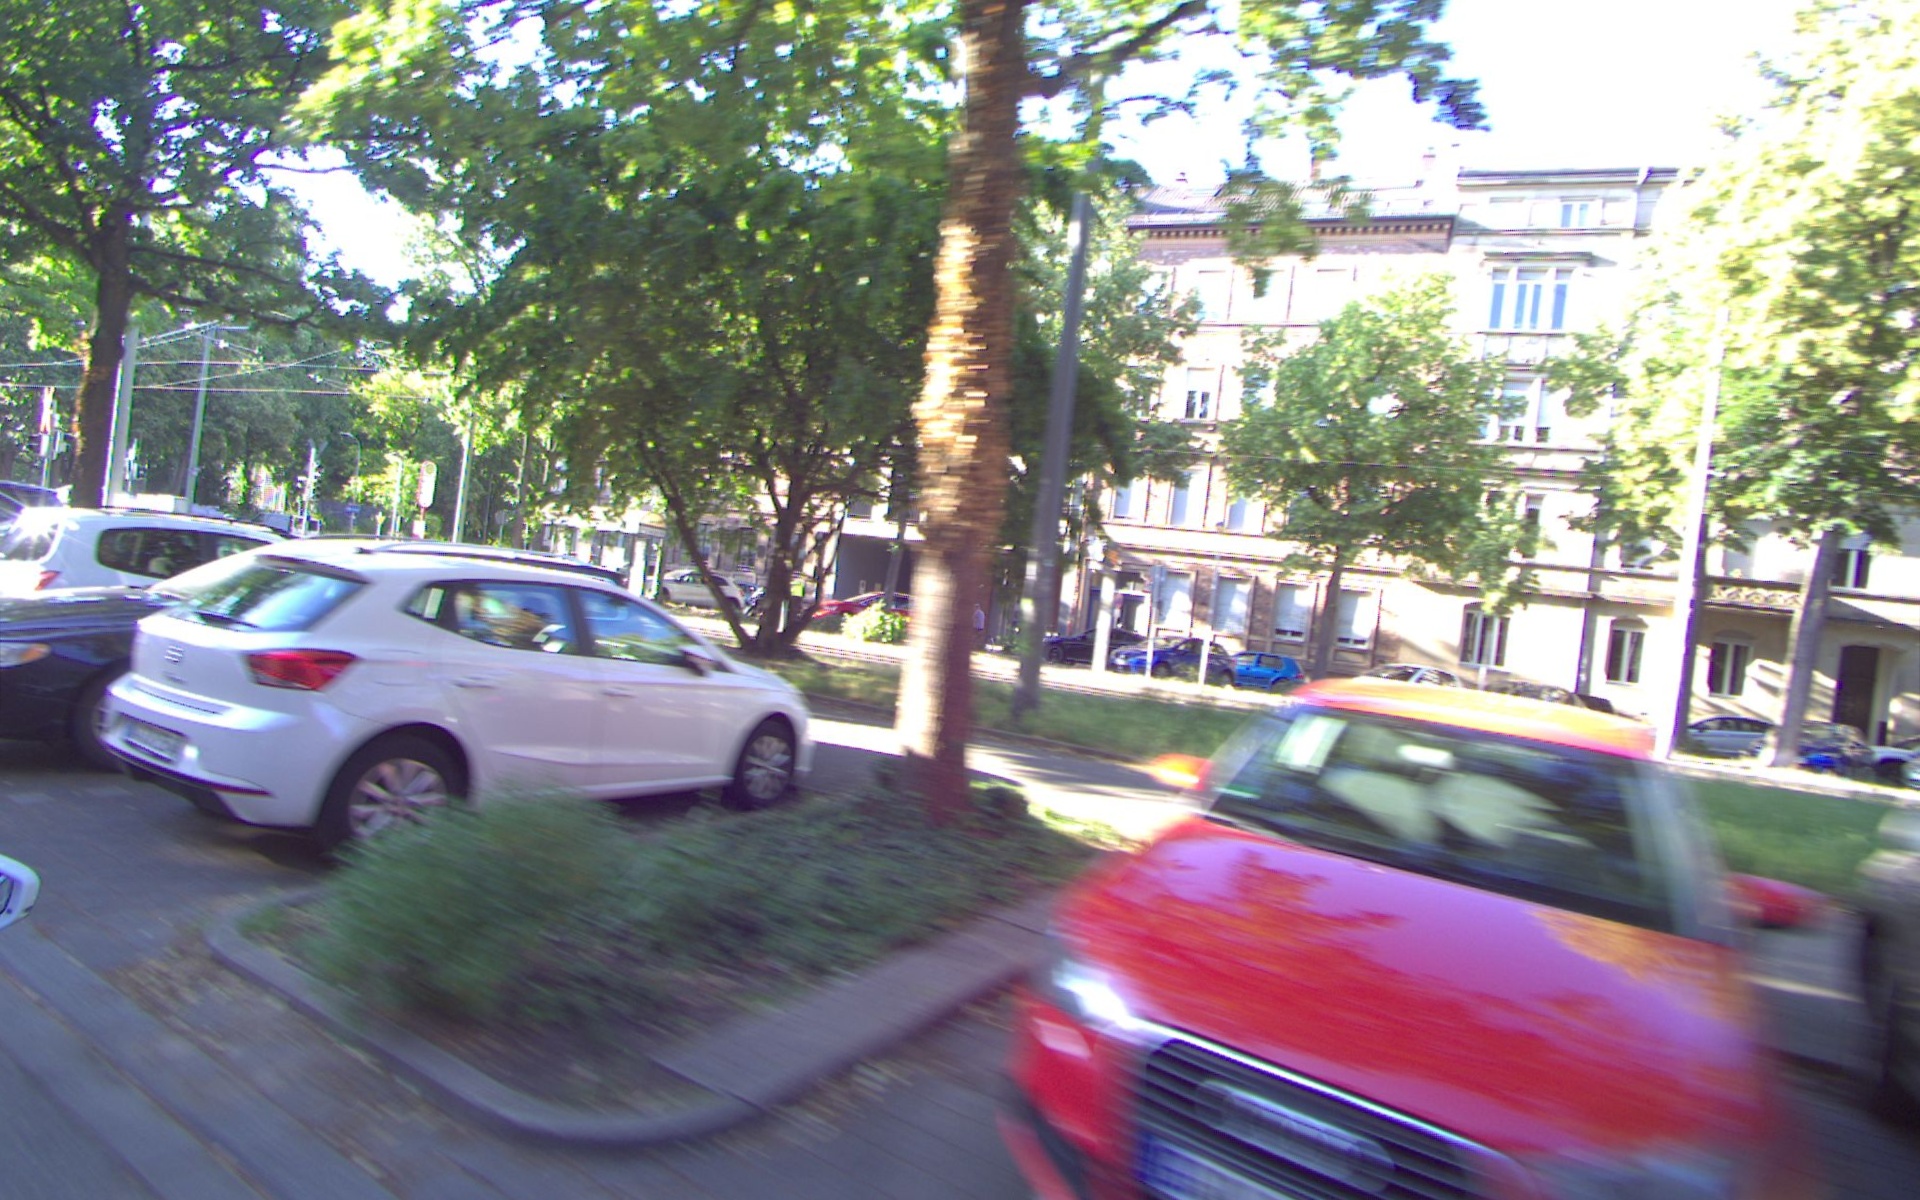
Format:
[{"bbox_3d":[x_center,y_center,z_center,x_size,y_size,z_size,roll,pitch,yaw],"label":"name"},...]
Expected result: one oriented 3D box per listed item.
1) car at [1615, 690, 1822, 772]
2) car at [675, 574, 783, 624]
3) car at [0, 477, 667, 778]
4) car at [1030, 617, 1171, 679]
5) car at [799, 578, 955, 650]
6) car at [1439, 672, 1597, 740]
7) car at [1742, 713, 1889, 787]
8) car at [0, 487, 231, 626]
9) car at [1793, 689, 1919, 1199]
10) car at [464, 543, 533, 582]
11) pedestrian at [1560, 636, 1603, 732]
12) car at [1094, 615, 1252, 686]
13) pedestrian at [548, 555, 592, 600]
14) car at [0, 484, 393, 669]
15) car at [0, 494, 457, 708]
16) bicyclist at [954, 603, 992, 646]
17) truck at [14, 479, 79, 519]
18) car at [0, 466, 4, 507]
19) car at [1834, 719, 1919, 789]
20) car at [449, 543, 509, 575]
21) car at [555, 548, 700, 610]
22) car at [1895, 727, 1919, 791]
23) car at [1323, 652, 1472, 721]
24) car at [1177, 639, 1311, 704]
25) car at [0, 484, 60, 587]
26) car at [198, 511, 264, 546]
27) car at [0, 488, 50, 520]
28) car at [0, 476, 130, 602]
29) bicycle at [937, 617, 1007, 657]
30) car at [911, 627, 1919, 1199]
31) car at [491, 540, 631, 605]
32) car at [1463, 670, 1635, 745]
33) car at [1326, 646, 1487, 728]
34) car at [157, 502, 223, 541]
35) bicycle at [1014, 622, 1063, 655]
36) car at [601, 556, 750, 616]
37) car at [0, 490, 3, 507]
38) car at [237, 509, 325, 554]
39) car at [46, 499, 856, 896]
[{"bbox_3d":[22.261,3.818,29.750,4.335,1.587,1.999,7,1,19],"label":"car"},{"bbox_3d":[-9.806,-0.059,42.726,4.089,1.506,1.743,7,-2,25],"label":"car"},{"bbox_3d":[-4.776,0.226,7.525,1.968,1.591,4.704,6,-1,34],"label":"car"},{"bbox_3d":[5.051,1.699,36.204,4.509,1.587,1.999,7,1,23],"label":"car"},{"bbox_3d":[-2.657,0.456,32.321,4.499,1.743,1.915,7,1,-28],"label":"car"},{"bbox_3d":[13.990,2.677,25.127,4.244,1.295,1.791,7,0,-37],"label":"car"},{"bbox_3d":[19.781,3.439,23.224,3.966,1.295,1.730,7,1,-38],"label":"car"},{"bbox_3d":[-12.673,-0.672,13.230,1.919,1.591,4.542,6,-1,34],"label":"car"},{"bbox_3d":[3.654,1.172,2.384,1.736,1.600,3.993,7,0,29],"label":"car"},{"bbox_3d":[-25.977,-2.071,56.778,1.888,1.675,4.186,10,-1,-3],"label":"car"},{"bbox_3d":[19.931,2.683,32.273,0.687,2.984,0.920,7,1,19],"label":"pedestrian"},{"bbox_3d":[6.050,1.447,28.417,4.240,1.506,1.792,7,1,-34],"label":"car"},{"bbox_3d":[-12.225,-0.701,31.552,0.861,1.288,0.824,7,0,24],"label":"pedestrian"},{"bbox_3d":[-8.866,-0.240,10.469,1.968,1.591,4.704,6,-1,34],"label":"car"},{"bbox_3d":[-6.755,0.060,9.152,1.691,1.533,3.401,8,0,34],"label":"car"},{"bbox_3d":[0.466,0.850,35.216,0.961,1.371,0.779,7,1,21],"label":"bicyclist"},{"bbox_3d":[-67.402,-7.467,74.222,4.311,2.381,2.369,7,0,32],"label":"truck"},{"bbox_3d":[-19.287,-1.693,16.708,1.919,1.937,4.542,6,-1,34],"label":"car"},{"bbox_3d":[27.512,4.498,27.799,4.527,1.587,1.999,7,1,20],"label":"car"},{"bbox_3d":[-31.704,-2.682,66.410,1.800,1.633,4.290,10,-1,-2],"label":"car"},{"bbox_3d":[-11.973,-0.726,36.369,4.513,1.655,1.909,7,1,-38],"label":"car"},{"bbox_3d":[22.190,3.615,22.083,3.966,1.295,1.730,7,1,-38],"label":"car"},{"bbox_3d":[14.200,2.777,32.901,4.163,1.587,1.999,7,1,19],"label":"car"},{"bbox_3d":[9.764,2.404,34.531,4.163,1.587,1.999,7,1,19],"label":"car"},{"bbox_3d":[-17.063,-1.253,15.356,1.919,1.591,4.542,6,-1,34],"label":"car"},{"bbox_3d":[-43.868,-4.285,60.522,3.645,1.658,1.575,7,0,25],"label":"car"},{"bbox_3d":[-56.764,-5.869,59.723,3.804,1.406,1.720,11,-4,-39],"label":"car"},{"bbox_3d":[-15.029,-1.059,14.345,1.916,1.711,4.446,6,-1,26],"label":"car"},{"bbox_3d":[0.410,1.298,35.199,2.214,1.099,0.779,7,1,21],"label":"bicycle"},{"bbox_3d":[1.688,0.986,3.543,1.656,1.441,3.991,7,0,32],"label":"car"},{"bbox_3d":[-14.771,-0.991,37.367,4.388,1.707,1.723,9,-1,-40],"label":"car"},{"bbox_3d":[18.160,3.284,31.259,4.163,1.587,1.999,7,1,19],"label":"car"},{"bbox_3d":[11.810,2.314,26.536,4.240,1.716,1.792,7,1,-34],"label":"car"},{"bbox_3d":[-47.862,-4.882,62.524,3.833,1.927,1.575,7,0,26],"label":"car"},{"bbox_3d":[3.218,1.590,41.648,0.677,1.130,2.074,7,0,-39],"label":"bicycle"},{"bbox_3d":[-9.890,-0.467,35.107,4.513,1.506,1.909,7,1,-38],"label":"car"},{"bbox_3d":[-62.344,-6.541,62.558,3.804,1.436,1.720,11,-4,-39],"label":"car"},{"bbox_3d":[-39.508,-3.987,58.554,4.575,2.028,1.949,7,0,24],"label":"car"},{"bbox_3d":[-2.567,0.463,6.058,1.656,1.479,3.991,7,0,32],"label":"car"}]
